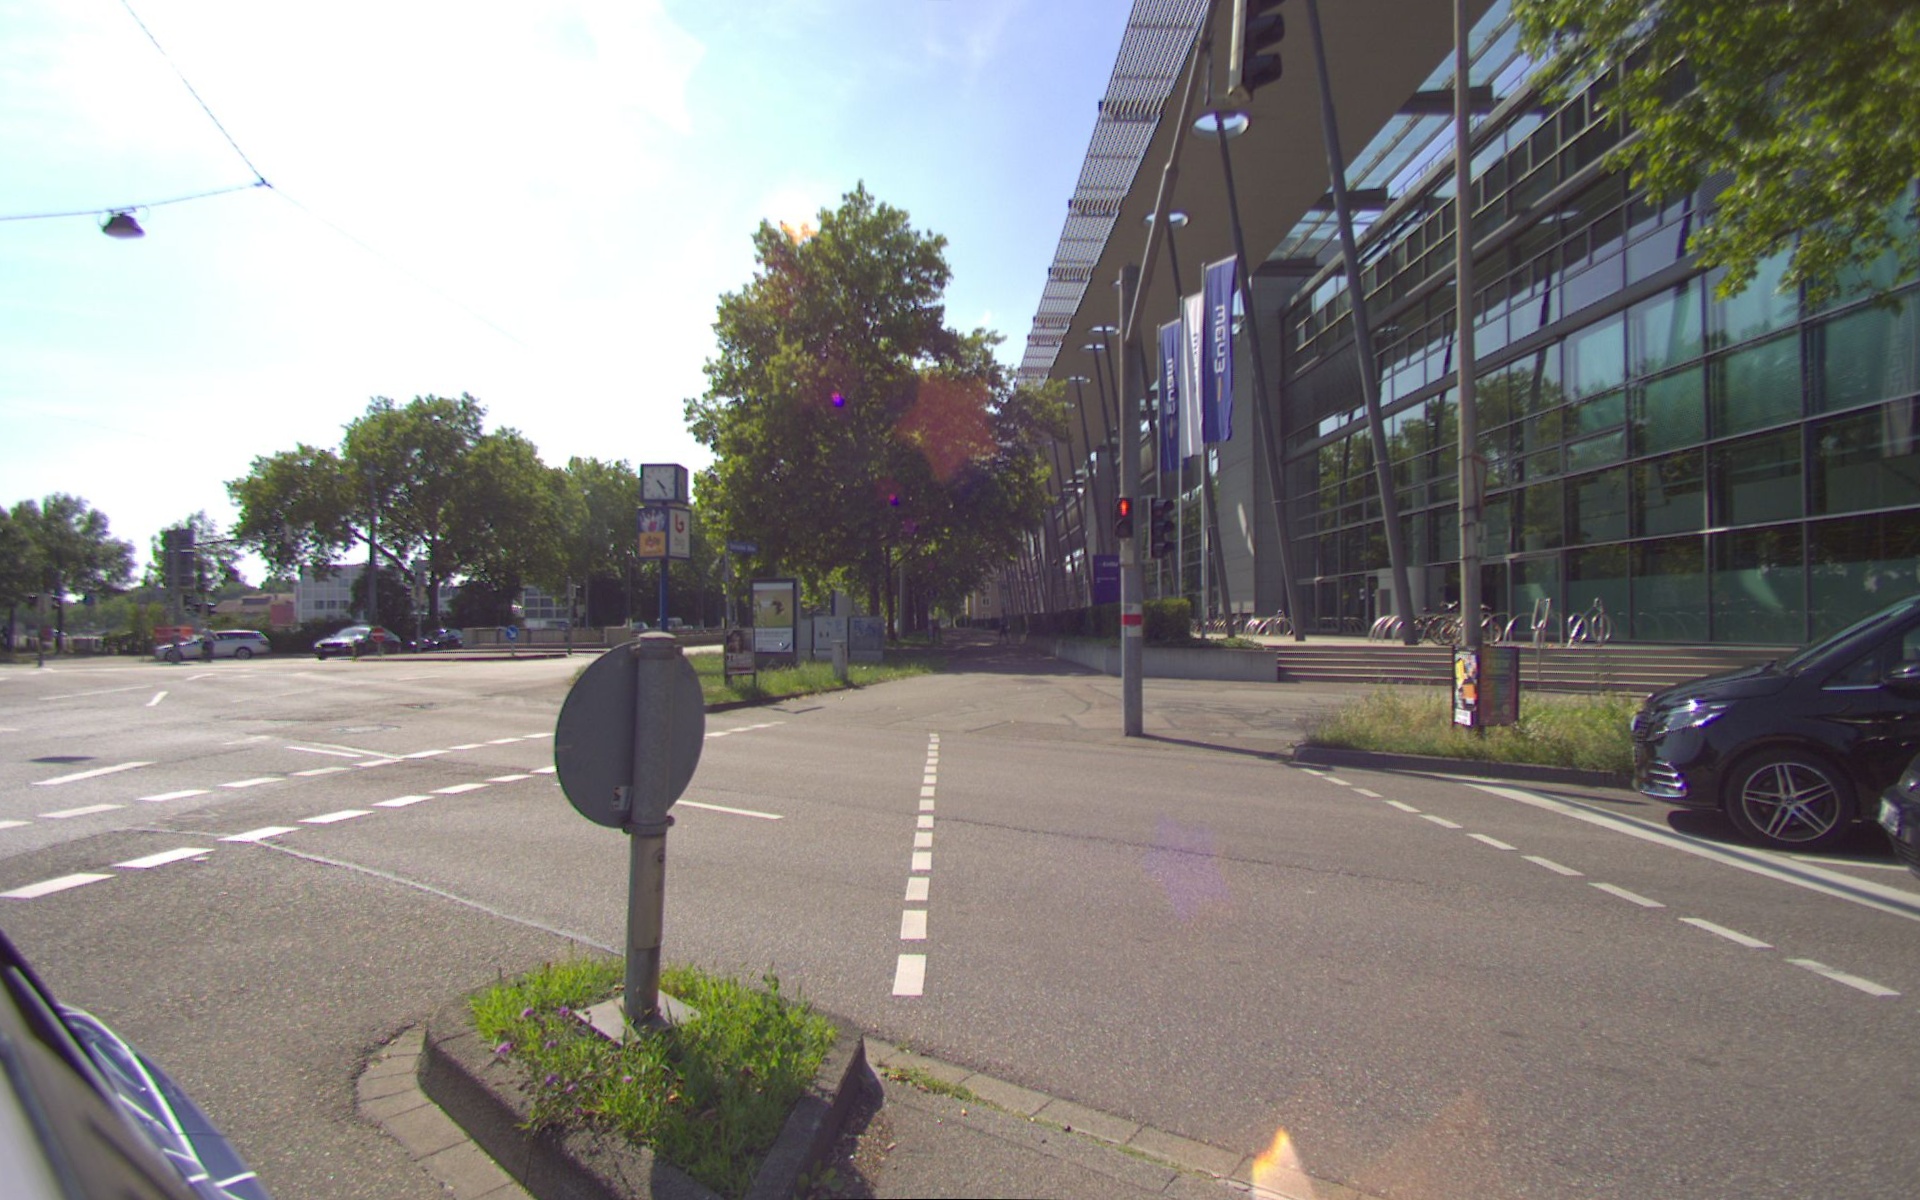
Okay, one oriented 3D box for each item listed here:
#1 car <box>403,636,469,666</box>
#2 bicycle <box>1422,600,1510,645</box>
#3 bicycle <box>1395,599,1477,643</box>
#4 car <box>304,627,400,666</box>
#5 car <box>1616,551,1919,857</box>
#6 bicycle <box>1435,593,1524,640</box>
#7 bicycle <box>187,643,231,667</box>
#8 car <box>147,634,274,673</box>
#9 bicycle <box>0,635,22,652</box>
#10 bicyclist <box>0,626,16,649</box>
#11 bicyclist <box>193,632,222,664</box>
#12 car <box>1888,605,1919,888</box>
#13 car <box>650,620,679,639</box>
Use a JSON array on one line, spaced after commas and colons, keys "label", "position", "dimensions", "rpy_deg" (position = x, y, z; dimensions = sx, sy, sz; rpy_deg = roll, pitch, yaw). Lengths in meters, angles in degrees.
[{"label": "car", "position": [-30.843, 2.974, 59.696], "dimensions": [1.749, 1.641, 3.997], "rpy_deg": [0, -1, 2]}, {"label": "bicycle", "position": [12.842, 0.569, 25.723], "dimensions": [1.858, 1.119, 0.740], "rpy_deg": [0, -2, -4]}, {"label": "bicycle", "position": [12.530, 0.558, 26.660], "dimensions": [1.773, 1.119, 0.740], "rpy_deg": [0, -2, -4]}, {"label": "car", "position": [-27.542, 2.073, 45.974], "dimensions": [1.795, 1.626, 3.996], "rpy_deg": [-3, -2, 3]}, {"label": "car", "position": [7.450, 0.627, 6.618], "dimensions": [5.215, 1.934, 1.922], "rpy_deg": [-3, -2, 34]}, {"label": "bicycle", "position": [12.778, 0.411, 24.919], "dimensions": [1.773, 1.119, 0.740], "rpy_deg": [0, -2, -4]}, {"label": "bicycle", "position": [-34.818, 2.549, 46.928], "dimensions": [2.391, 1.061, 0.765], "rpy_deg": [-1, -2, 30]}, {"label": "car", "position": [-38.309, 2.738, 51.914], "dimensions": [5.077, 1.737, 2.005], "rpy_deg": [-1, -2, -32]}, {"label": "bicycle", "position": [-62.103, 2.832, 65.700], "dimensions": [2.759, 1.067, 0.876], "rpy_deg": [-2, -2, 28]}, {"label": "bicyclist", "position": [-62.027, 2.448, 65.661], "dimensions": [0.961, 1.454, 0.876], "rpy_deg": [-2, -2, 28]}, {"label": "bicyclist", "position": [-34.947, 2.239, 47.004], "dimensions": [0.917, 1.447, 0.766], "rpy_deg": [-1, -2, 30]}, {"label": "car", "position": [6.457, 0.715, 3.917], "dimensions": [3.948, 1.487, 1.747], "rpy_deg": [-2, -2, 34]}, {"label": "car", "position": [-31.321, 3.130, 107.459], "dimensions": [1.848, 1.952, 3.997], "rpy_deg": [-1, -1, 2]}]
